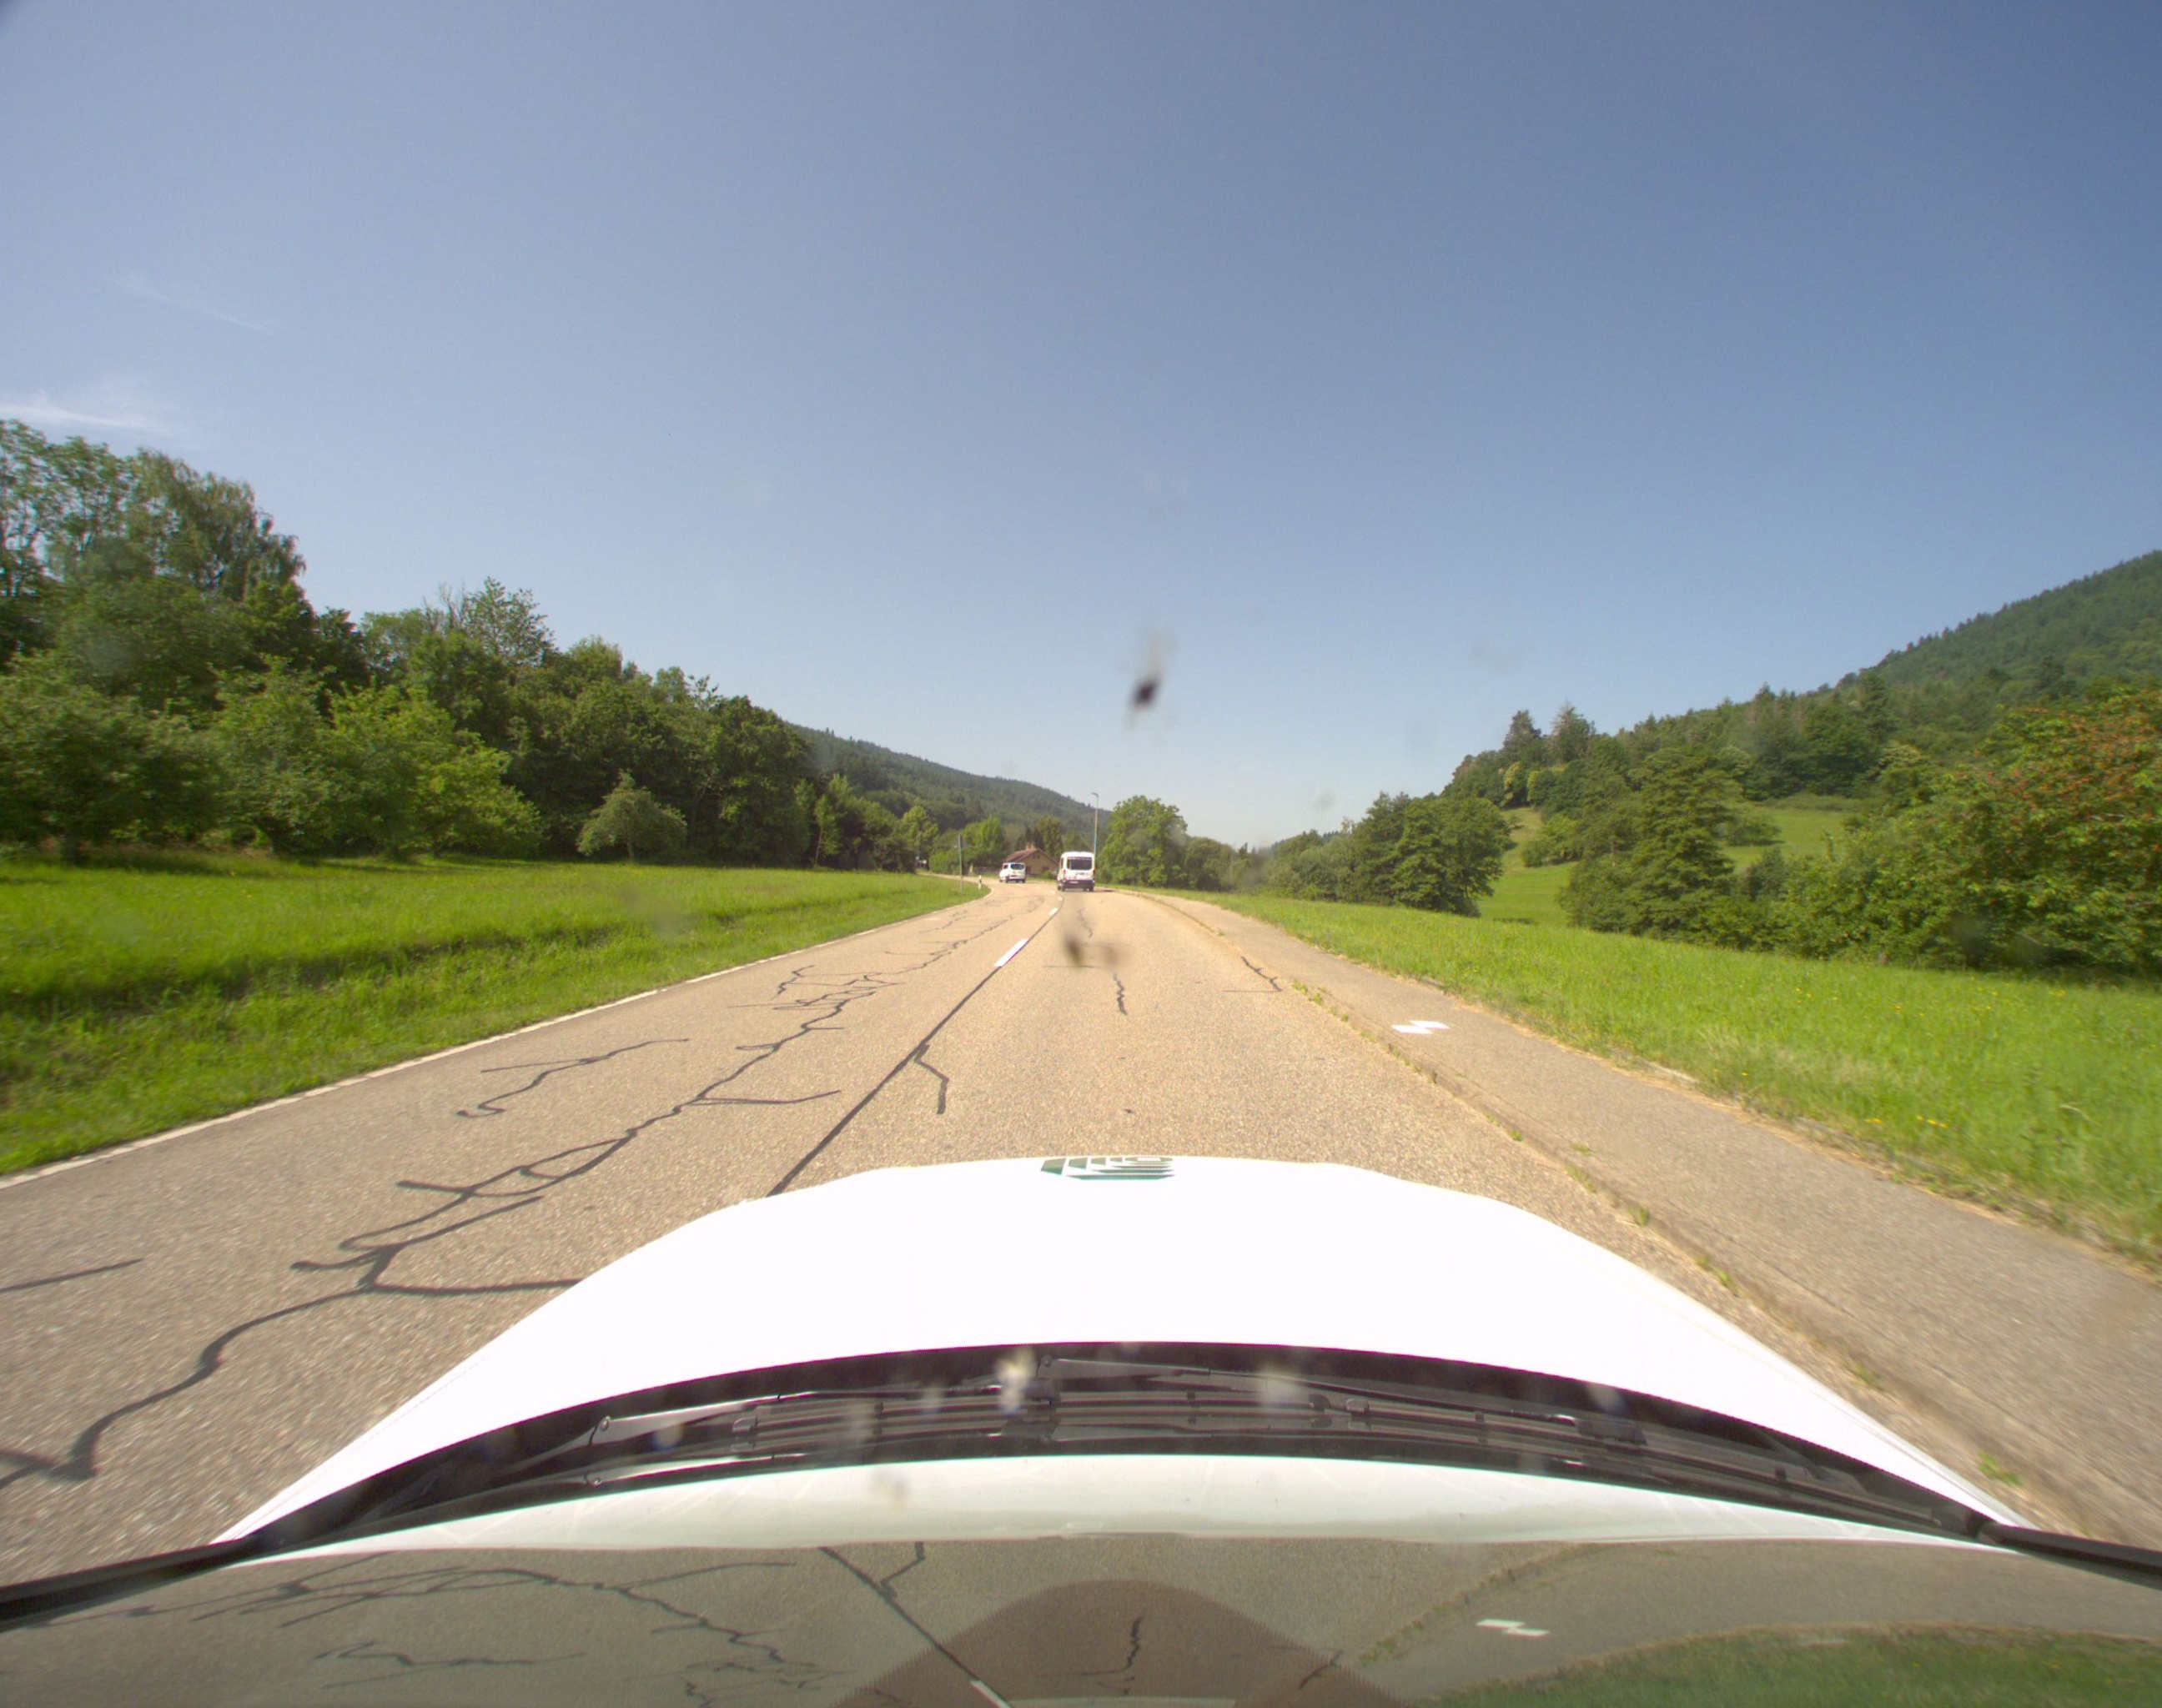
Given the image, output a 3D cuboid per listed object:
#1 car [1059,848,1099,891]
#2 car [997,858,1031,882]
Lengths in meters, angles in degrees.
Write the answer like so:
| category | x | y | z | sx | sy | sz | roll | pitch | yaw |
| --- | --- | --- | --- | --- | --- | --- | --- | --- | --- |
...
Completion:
| category | x | y | z | sx | sy | sz | roll | pitch | yaw |
| --- | --- | --- | --- | --- | --- | --- | --- | --- | --- |
| car | -0.187 | 1.008 | 52.135 | 2.218 | 2.526 | 4.978 | -2 | -1 | -3 |
| car | -6.806 | 1.639 | 82.382 | 2.229 | 2.287 | 4.953 | -2 | -1 | -18 |
